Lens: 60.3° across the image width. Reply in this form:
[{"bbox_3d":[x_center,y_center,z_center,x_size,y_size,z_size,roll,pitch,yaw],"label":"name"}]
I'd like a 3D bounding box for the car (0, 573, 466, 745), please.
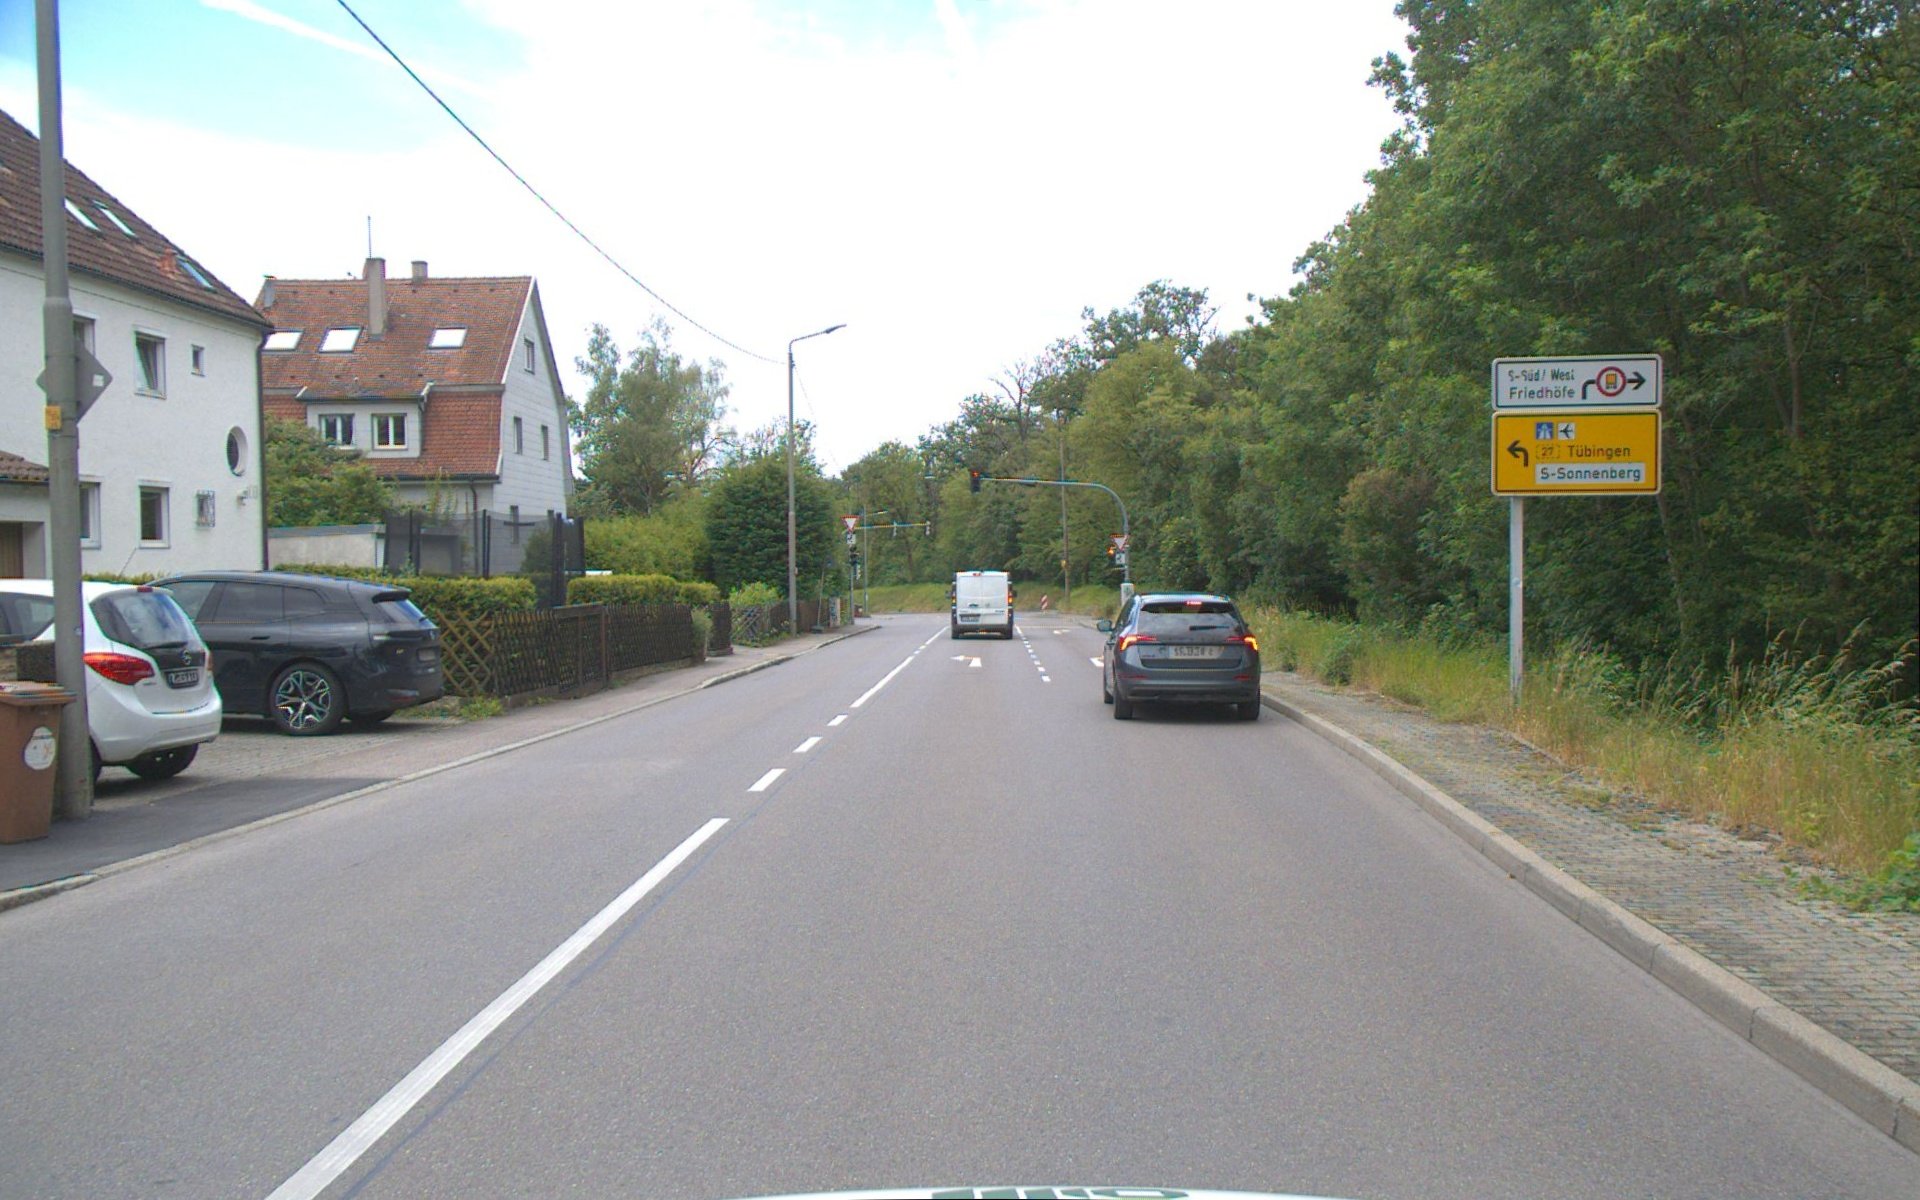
[{"bbox_3d":[-8.066,0.613,18.311,4.573,1.698,1.883,1,0,2],"label":"car"}]

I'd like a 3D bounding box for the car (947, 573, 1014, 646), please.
[{"bbox_3d":[0.574,0.269,50.209,1.877,2.089,4.613,-1,0,-1],"label":"car"}]

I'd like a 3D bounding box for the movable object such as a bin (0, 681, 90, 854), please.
[{"bbox_3d":[-5.721,0.992,9.917,0.673,0.970,0.572,-1,0,7],"label":"movable object such as a bin"}]

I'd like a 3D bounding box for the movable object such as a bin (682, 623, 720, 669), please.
[{"bbox_3d":[-5.504,0.976,35.148,0.619,0.929,0.561,2,1,13],"label":"movable object such as a bin"}]

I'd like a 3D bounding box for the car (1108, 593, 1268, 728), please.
[{"bbox_3d":[2.747,0.667,20.473,1.754,1.476,4.003,-1,0,6],"label":"car"}]

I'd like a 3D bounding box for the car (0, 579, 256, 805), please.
[{"bbox_3d":[-7.860,0.641,12.968,3.905,1.621,1.719,1,0,1],"label":"car"}]

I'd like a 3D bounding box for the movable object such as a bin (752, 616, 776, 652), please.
[{"bbox_3d":[-5.279,0.908,44.546,0.539,0.954,0.538,-1,0,3],"label":"movable object such as a bin"}]
